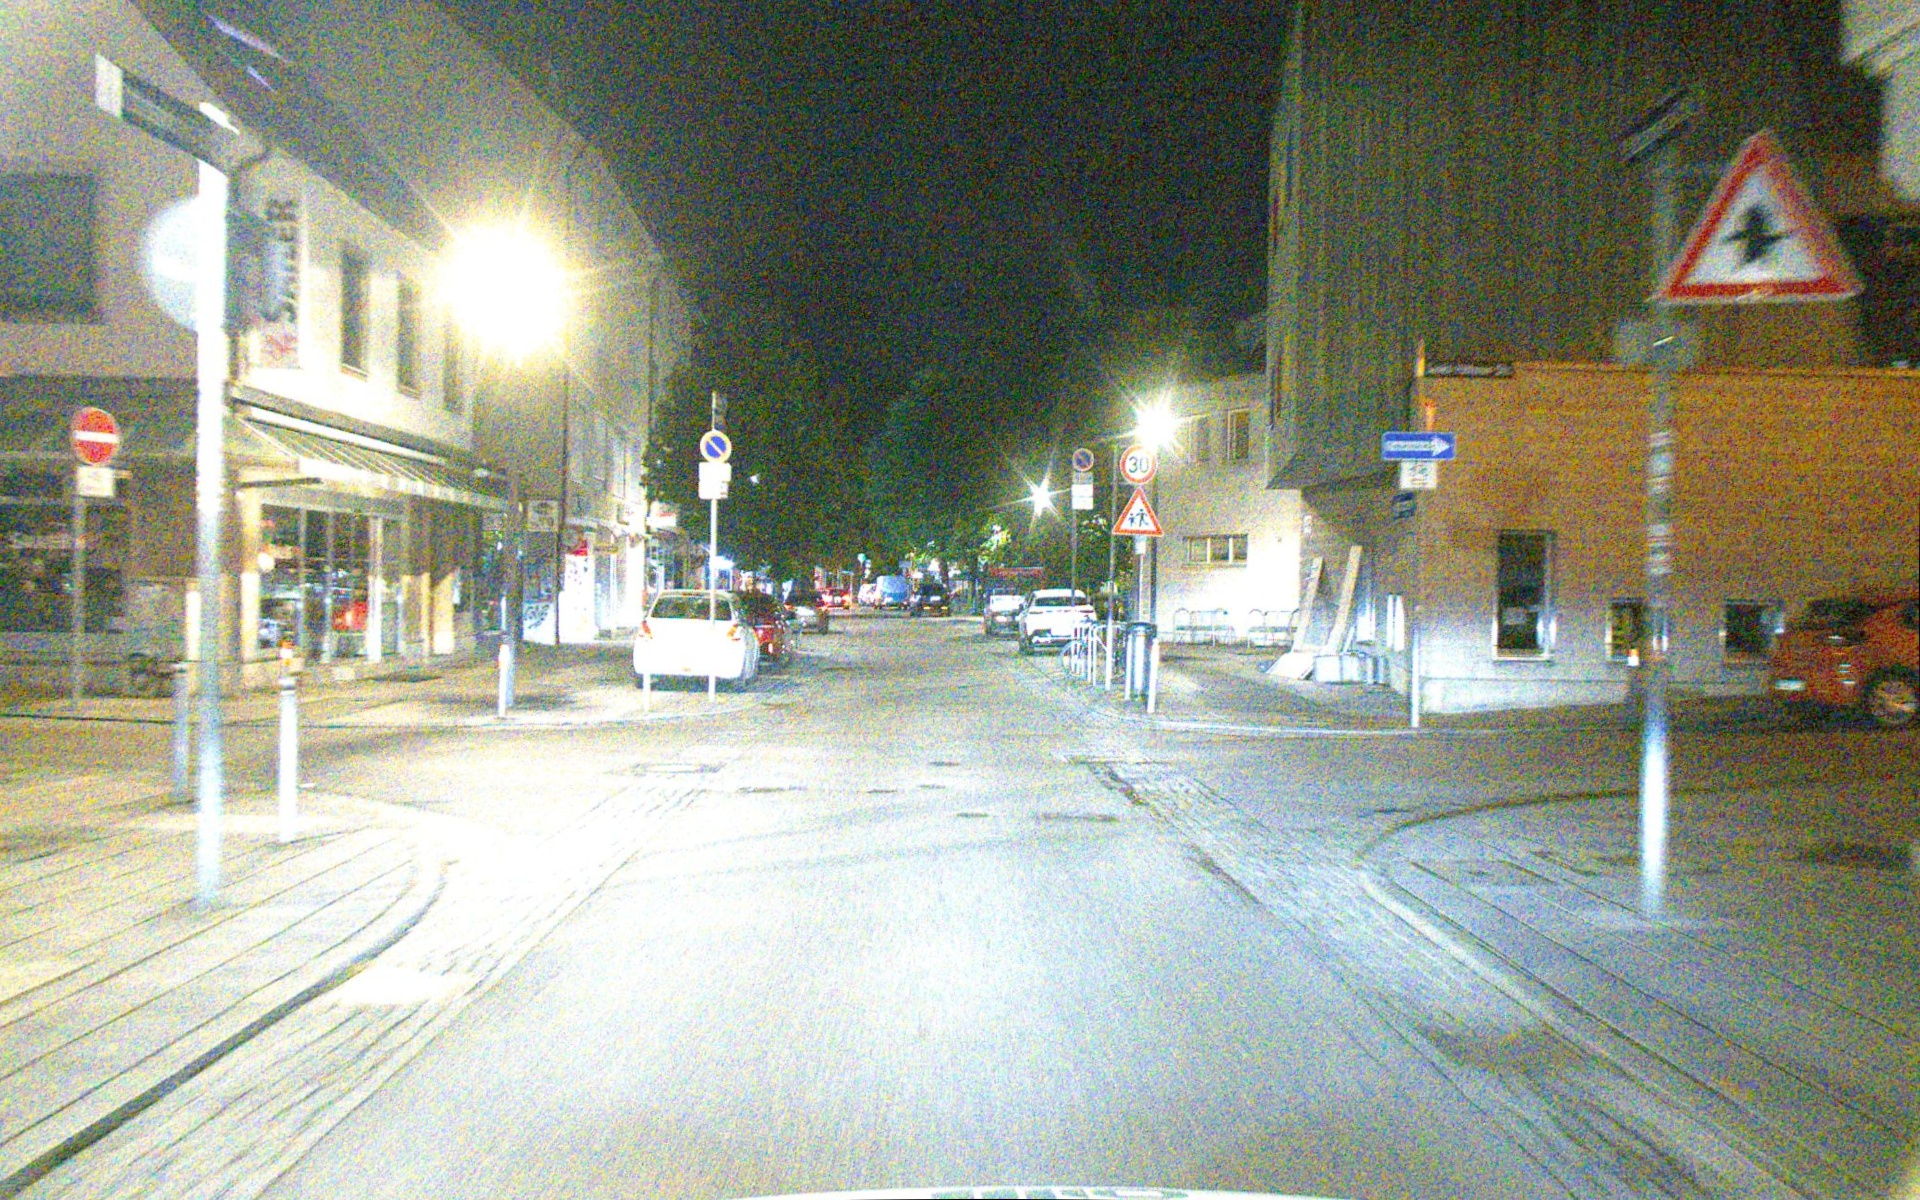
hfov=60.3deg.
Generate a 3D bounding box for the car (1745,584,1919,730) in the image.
[{"bbox_3d":[10.782,0.553,18.090,3.541,1.467,1.725,-2,0,-2],"label":"car"}]

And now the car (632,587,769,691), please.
[{"bbox_3d":[-4.037,0.569,26.272,1.694,1.502,3.845,1,0,-3],"label":"car"}]

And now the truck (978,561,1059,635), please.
[{"bbox_3d":[1.897,-0.073,55.554,2.289,2.352,5.778,0,0,-2],"label":"truck"}]

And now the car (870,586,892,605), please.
[{"bbox_3d":[-6.218,-0.357,129.766,1.502,1.443,3.840,0,0,-7],"label":"car"}]

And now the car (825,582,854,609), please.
[{"bbox_3d":[-8.784,-0.331,120.148,1.955,1.855,3.994,0,0,-6],"label":"car"}]

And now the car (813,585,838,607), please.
[{"bbox_3d":[-10.906,-0.357,133.941,1.955,1.732,3.994,0,0,-7],"label":"car"}]

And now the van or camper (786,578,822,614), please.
[{"bbox_3d":[-9.195,-0.229,97.385,1.832,2.046,4.254,2,0,-8],"label":"van or camper"}]

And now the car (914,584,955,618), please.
[{"bbox_3d":[-1.426,0.049,90.952,1.781,1.860,4.340,0,0,-8],"label":"car"}]

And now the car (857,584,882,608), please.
[{"bbox_3d":[-7.444,-0.328,135.587,1.804,1.934,3.840,0,0,-7],"label":"car"}]

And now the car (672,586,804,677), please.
[{"bbox_3d":[-4.183,0.553,31.925,1.979,1.514,5.005,3,0,-2],"label":"car"}]

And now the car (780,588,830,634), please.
[{"bbox_3d":[-5.628,0.390,59.708,1.642,1.570,4.223,1,0,-7],"label":"car"}]

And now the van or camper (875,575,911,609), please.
[{"bbox_3d":[-4.764,-0.554,116.784,2.069,2.357,4.254,-1,0,-8],"label":"van or camper"}]

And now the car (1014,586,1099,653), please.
[{"bbox_3d":[2.283,0.438,40.203,1.753,1.517,4.058,-1,0,-1],"label":"car"}]

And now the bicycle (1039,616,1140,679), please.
[{"bbox_3d":[2.248,0.816,28.711,1.720,1.081,0.346,0,0,-5],"label":"bicycle"}]
